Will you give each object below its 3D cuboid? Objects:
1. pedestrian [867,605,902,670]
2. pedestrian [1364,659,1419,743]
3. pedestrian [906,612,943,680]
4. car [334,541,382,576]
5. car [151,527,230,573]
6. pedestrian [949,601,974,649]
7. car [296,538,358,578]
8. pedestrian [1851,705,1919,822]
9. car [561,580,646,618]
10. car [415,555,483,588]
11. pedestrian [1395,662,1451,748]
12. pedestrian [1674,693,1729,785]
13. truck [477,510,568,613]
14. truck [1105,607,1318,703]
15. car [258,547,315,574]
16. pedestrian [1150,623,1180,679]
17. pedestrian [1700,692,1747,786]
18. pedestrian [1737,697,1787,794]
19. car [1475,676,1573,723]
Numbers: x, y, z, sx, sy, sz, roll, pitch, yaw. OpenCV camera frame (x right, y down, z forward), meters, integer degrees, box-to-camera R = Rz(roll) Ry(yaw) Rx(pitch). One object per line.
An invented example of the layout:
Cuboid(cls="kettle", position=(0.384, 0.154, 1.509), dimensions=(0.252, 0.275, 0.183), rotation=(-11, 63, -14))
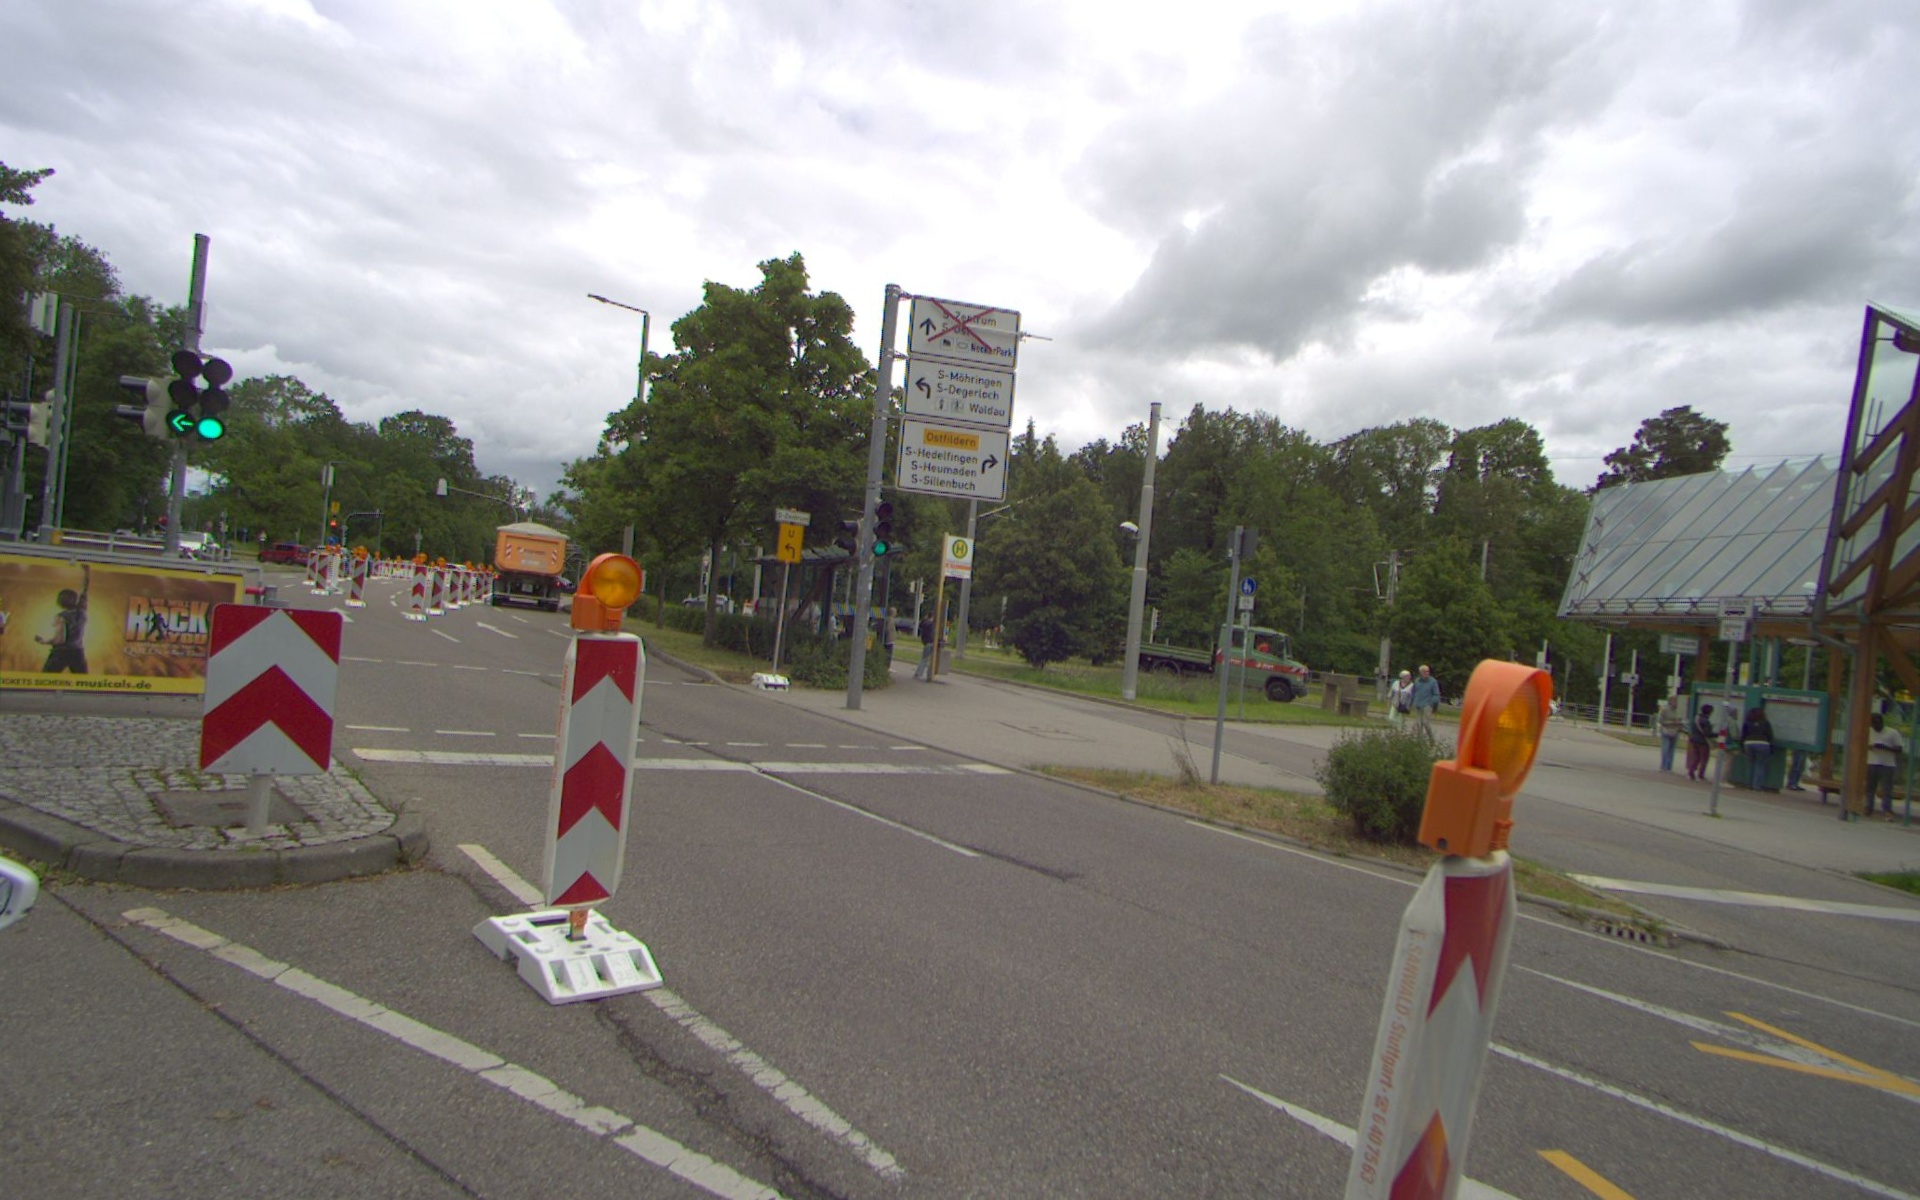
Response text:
Cuboid(cls="pedestrian", position=(-1.864, 0.928, 24.951), dimensions=(0.473, 1.534, 0.520), rotation=(6, -2, 43))
Cuboid(cls="pedestrian", position=(9.785, 2.276, 22.822), dimensions=(0.661, 1.778, 0.731), rotation=(7, -1, -29))
Cuboid(cls="pedestrian", position=(-0.844, 1.085, 23.721), dimensions=(0.473, 1.534, 0.520), rotation=(6, -2, 43))
Cuboid(cls="car", position=(-36.378, -2.494, 60.908), dimensions=(1.778, 1.758, 3.686), rotation=(8, -2, -22))
Cuboid(cls="car", position=(-37.509, -2.391, 49.138), dimensions=(1.976, 1.770, 4.553), rotation=(8, -2, -25))
Cuboid(cls="pedestrian", position=(0.069, 1.263, 51.257), dimensions=(0.848, 2.321, 0.616), rotation=(6, -1, 32))
Cuboid(cls="car", position=(-33.579, -2.198, 53.487), dimensions=(1.974, 1.736, 3.981), rotation=(8, -2, -22))
Cuboid(cls="pedestrian", position=(15.177, 2.667, 16.425), dimensions=(0.661, 1.778, 0.651), rotation=(7, -1, -29))
Cuboid(cls="car", position=(-25.604, -0.055, 72.304), dimensions=(5.332, 2.037, 2.003), rotation=(6, -2, 14))
Cuboid(cls="car", position=(-38.544, -2.144, 75.946), dimensions=(3.924, 1.903, 2.002), rotation=(7, -2, 4))
Cuboid(cls="pedestrian", position=(10.243, 2.322, 22.254), dimensions=(0.661, 1.778, 0.731), rotation=(7, -1, -31))
Cuboid(cls="pedestrian", position=(15.406, 2.872, 20.910), dimensions=(0.656, 1.778, 0.562), rotation=(6, -1, 23))
Cuboid(cls="truck", position=(-18.119, -1.577, 41.843), dimensions=(2.830, 3.558, 8.203), rotation=(6, 0, -23))
Cuboid(cls="truck", position=(8.444, 1.848, 33.816), dimensions=(6.426, 2.379, 2.407), rotation=(6, -2, 25))
Cuboid(cls="car", position=(-60.922, -3.558, 91.020), dimensions=(3.924, 1.903, 2.003), rotation=(6, -2, 14))
Cuboid(cls="pedestrian", position=(11.922, 2.980, 58.561), dimensions=(1.095, 3.079, 1.025), rotation=(6, -1, 32))
Cuboid(cls="pedestrian", position=(15.293, 2.782, 20.167), dimensions=(0.591, 1.778, 0.666), rotation=(6, -2, 37))
Cuboid(cls="pedestrian", position=(15.686, 2.831, 19.693), dimensions=(0.591, 1.778, 0.666), rotation=(6, -2, 37))
Cuboid(cls="car", position=(31.530, 5.516, 56.335), dimensions=(4.245, 2.037, 2.003), rotation=(6, -2, 14))
